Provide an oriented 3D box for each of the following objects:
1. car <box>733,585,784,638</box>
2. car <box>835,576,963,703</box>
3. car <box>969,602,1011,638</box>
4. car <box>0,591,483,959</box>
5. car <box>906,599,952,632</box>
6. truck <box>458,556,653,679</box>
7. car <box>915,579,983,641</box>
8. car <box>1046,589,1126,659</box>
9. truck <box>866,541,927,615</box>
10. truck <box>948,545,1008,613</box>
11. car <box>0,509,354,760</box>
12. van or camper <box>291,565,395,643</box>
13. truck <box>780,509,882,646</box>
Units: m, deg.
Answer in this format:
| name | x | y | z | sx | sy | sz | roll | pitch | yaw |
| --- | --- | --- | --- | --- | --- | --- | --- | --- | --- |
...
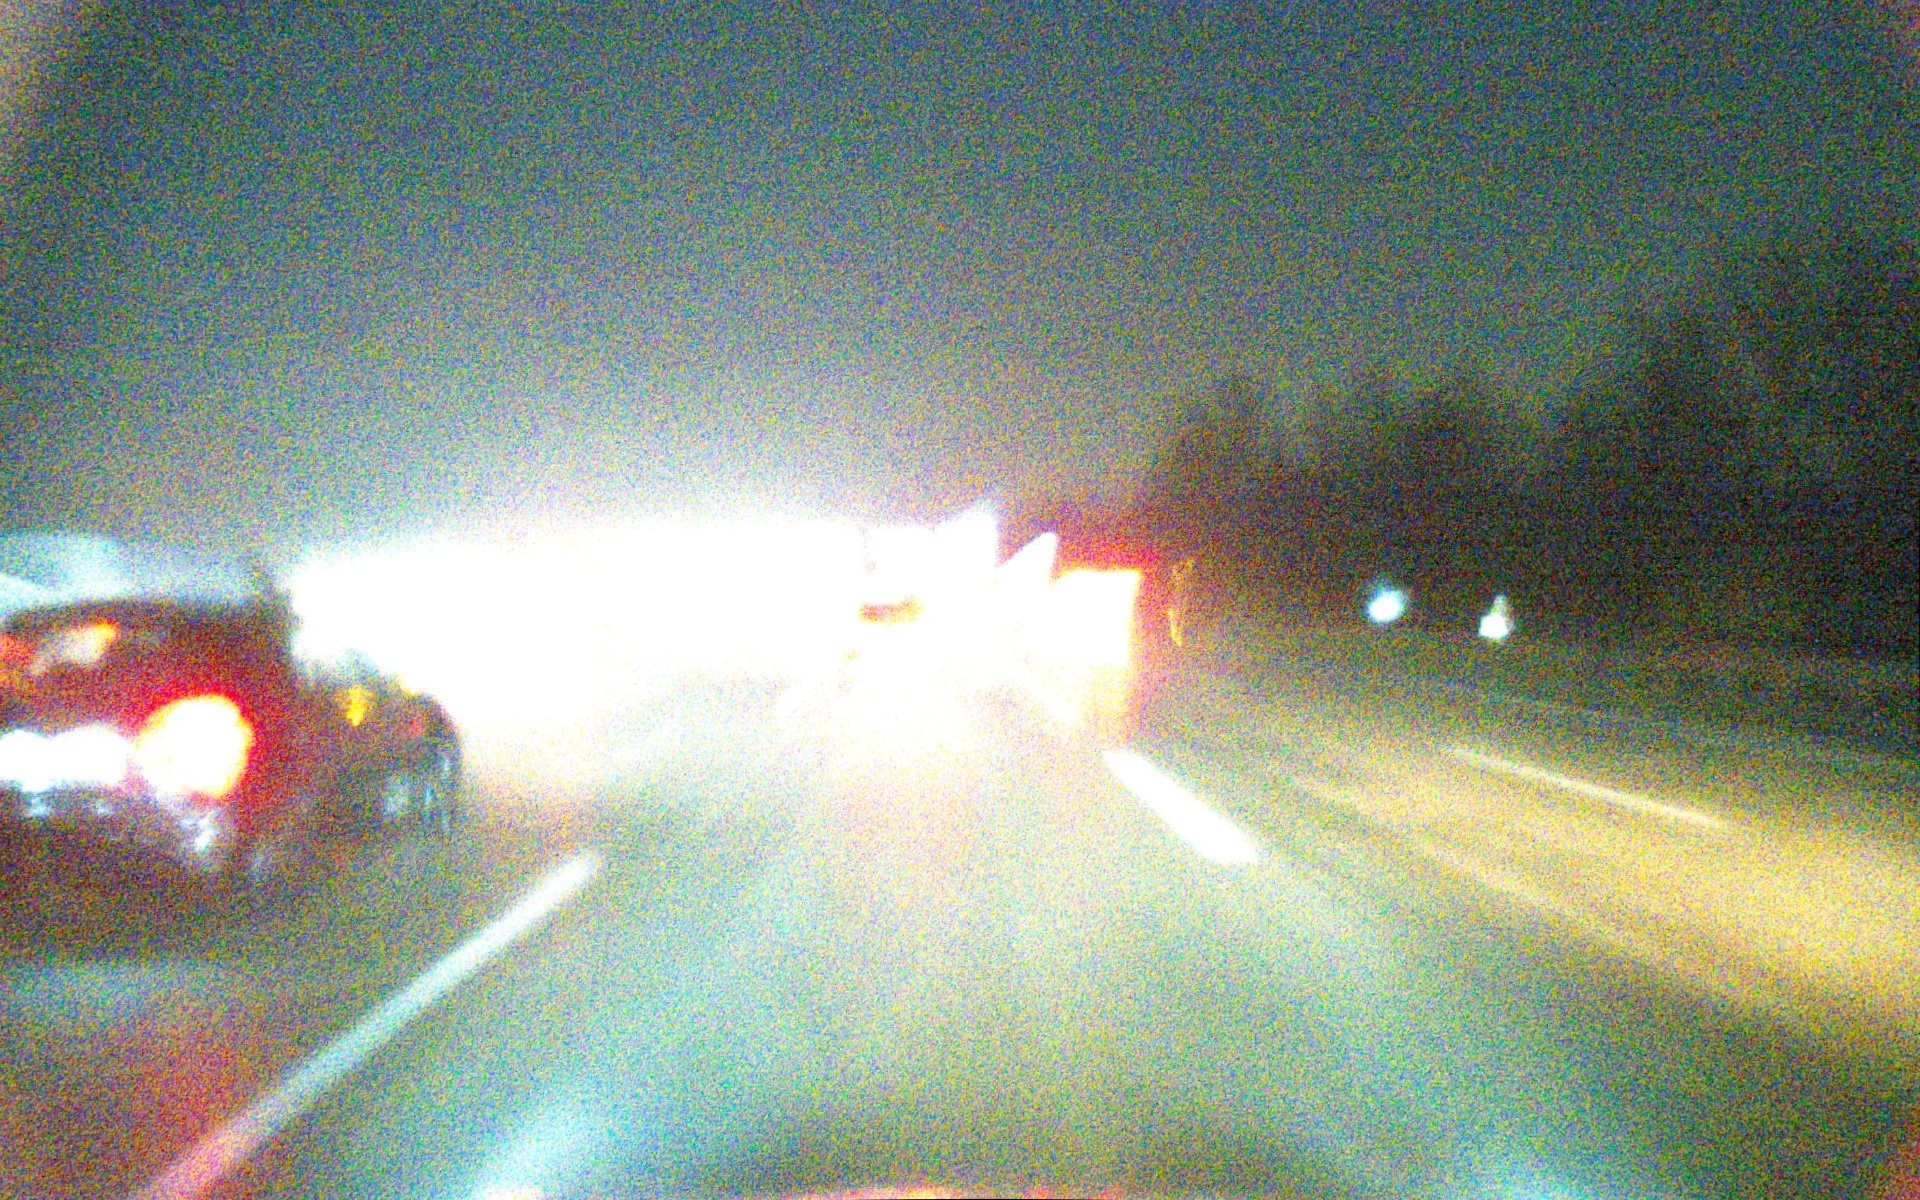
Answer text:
| name | x | y | z | sx | sy | sz | roll | pitch | yaw |
| --- | --- | --- | --- | --- | --- | --- | --- | --- | --- |
| car | -9.282 | 0.533 | 76.207 | 2.221 | 2.313 | 5.377 | 1 | 0 | -7 |
| car | -0.838 | 0.527 | 24.590 | 1.729 | 1.719 | 4.000 | 1 | 0 | 0 |
| car | 1.504 | 0.995 | 83.783 | 1.953 | 1.733 | 4.457 | 1 | 0 | -1 |
| car | -3.852 | 0.698 | 8.797 | 1.624 | 1.456 | 4.243 | 1 | 1 | -4 |
| car | -1.932 | 0.980 | 105.458 | 2.775 | 2.049 | 5.509 | 1 | 0 | 0 |
| truck | -8.037 | 0.344 | 33.603 | 2.800 | 2.239 | 5.854 | 1 | 0 | -4 |
| car | -0.364 | 0.314 | 51.161 | 1.997 | 1.792 | 4.514 | 1 | 0 | -1 |
| car | 3.399 | 0.636 | 45.085 | 1.839 | 1.793 | 4.000 | 1 | 0 | 0 |
| truck | -4.950 | -1.612 | 130.728 | 4.166 | 5.539 | 10.884 | 1 | 0 | 1 |
| truck | 1.396 | -1.611 | 134.824 | 4.079 | 5.306 | 9.946 | 1 | 0 | -3 |
| car | -8.251 | 0.291 | 16.987 | 2.080 | 2.141 | 5.627 | 1 | 0 | -2 |
| van or camper | -31.436 | 0.208 | 84.617 | 2.463 | 3.766 | 7.678 | 1 | 0 | -1 |
| truck | -5.021 | -0.781 | 64.133 | 3.585 | 4.820 | 9.842 | 1 | 0 | -5 |
